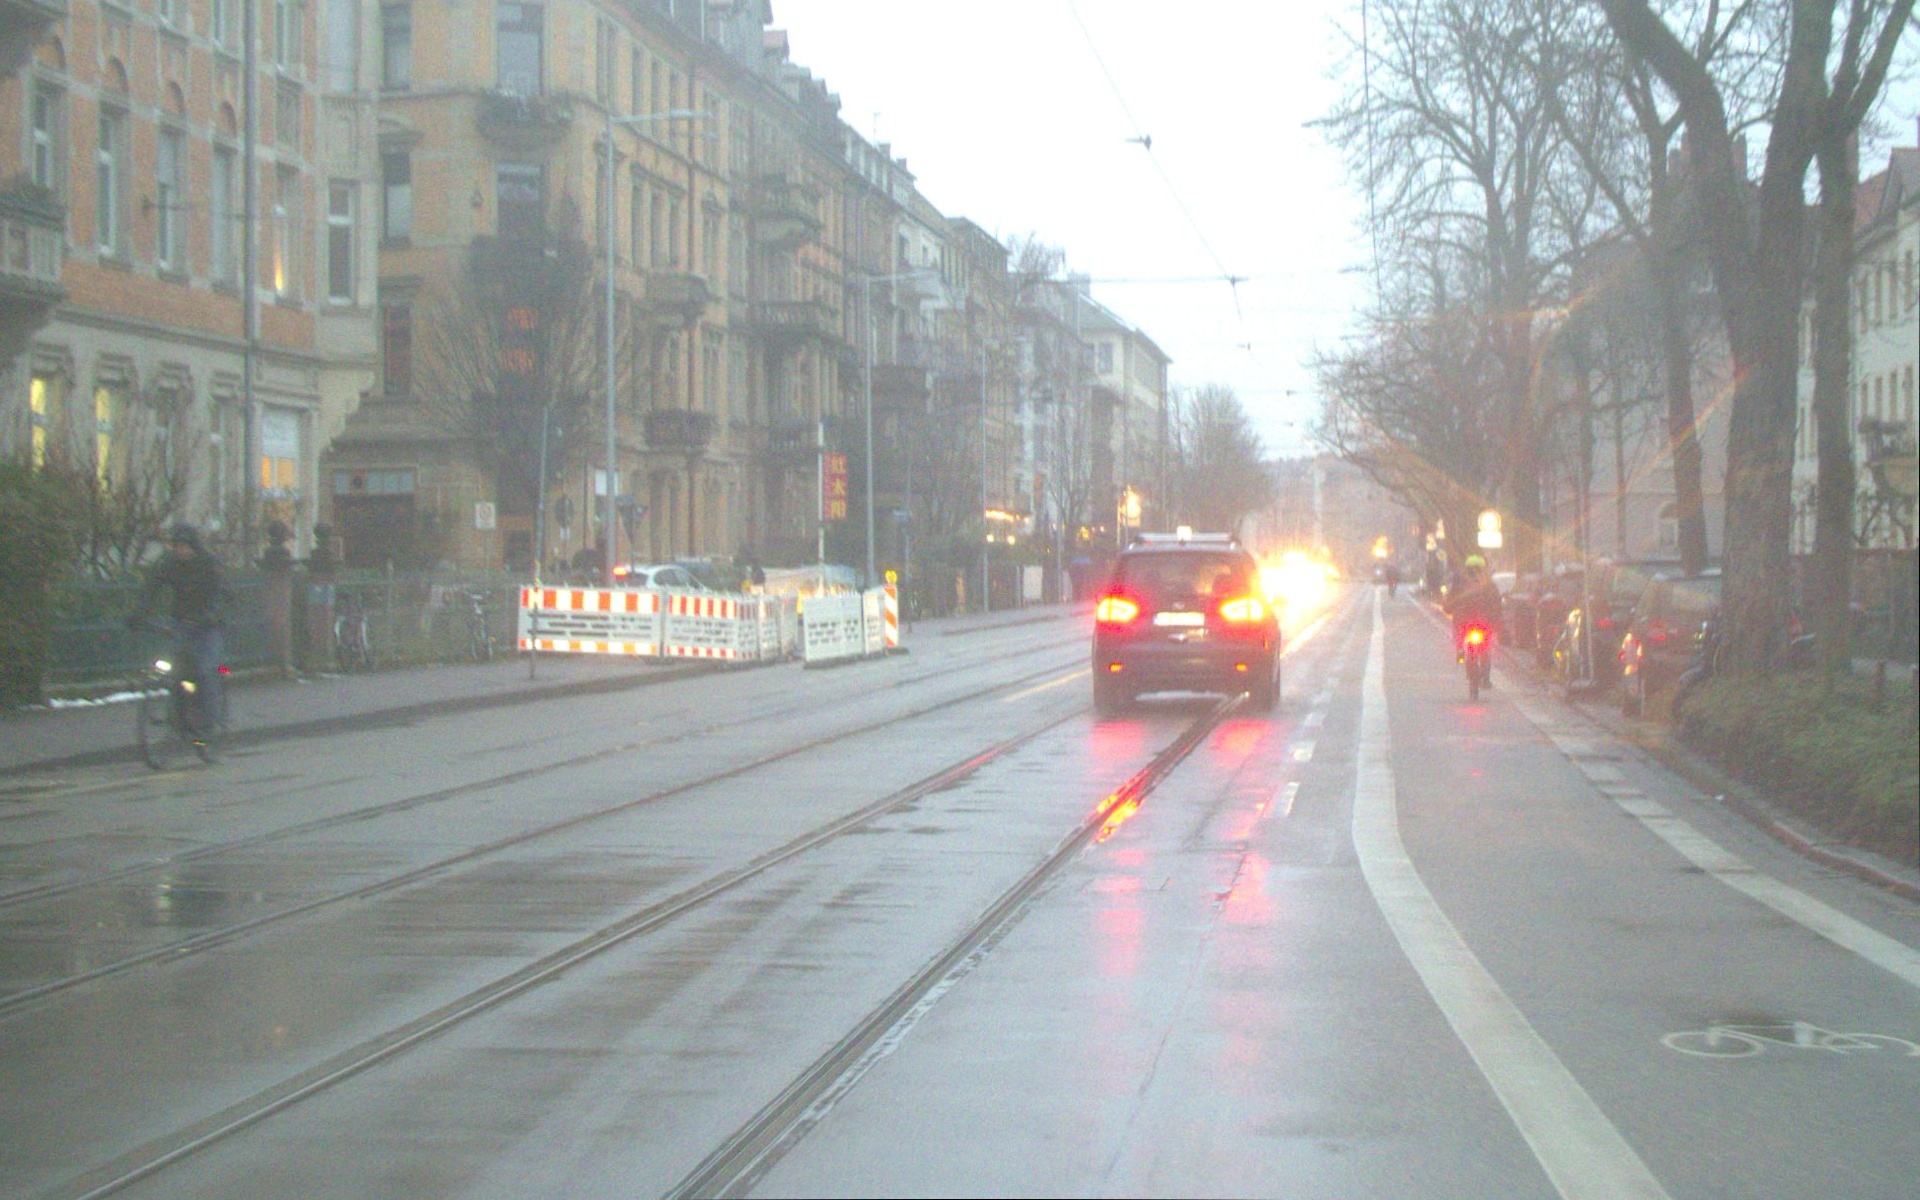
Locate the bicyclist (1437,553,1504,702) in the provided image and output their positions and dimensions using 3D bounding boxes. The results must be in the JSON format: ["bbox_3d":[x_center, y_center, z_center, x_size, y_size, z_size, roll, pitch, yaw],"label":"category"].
[{"bbox_3d":[6.071,0.320,40.914,0.730,1.731,0.765,2,0,8],"label":"bicyclist"}]

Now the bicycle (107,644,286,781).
[{"bbox_3d":[-5.832,0.843,26.376,0.678,0.969,1.932,2,0,8],"label":"bicycle"}]

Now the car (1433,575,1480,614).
[{"bbox_3d":[20.024,-0.228,138.778,1.786,1.504,4.107,1,0,7],"label":"car"}]

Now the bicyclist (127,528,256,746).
[{"bbox_3d":[-5.832,0.276,26.116,0.684,1.610,0.765,2,0,8],"label":"bicyclist"}]

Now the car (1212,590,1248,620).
[{"bbox_3d":[15.865,0.307,201.964,1.924,1.714,3.999,1,0,7],"label":"car"}]

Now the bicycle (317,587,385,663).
[{"bbox_3d":[-7.655,0.303,43.240,0.263,0.912,1.685,7,1,7],"label":"bicycle"}]

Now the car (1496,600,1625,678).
[{"bbox_3d":[11.352,0.708,65.254,1.879,1.415,4.343,0,0,3],"label":"car"}]

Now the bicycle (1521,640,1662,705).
[{"bbox_3d":[9.301,1.064,50.644,2.015,0.913,0.464,1,0,16],"label":"bicycle"}]

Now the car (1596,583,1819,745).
[{"bbox_3d":[7.521,0.609,34.916,1.786,1.504,3.986,1,0,6],"label":"car"}]

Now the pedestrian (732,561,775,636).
[{"bbox_3d":[-4.937,-0.040,82.021,0.718,1.767,0.770,1,0,-29],"label":"pedestrian"}]

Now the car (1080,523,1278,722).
[{"bbox_3d":[2.378,0.217,36.472,1.802,1.864,4.017,4,1,6],"label":"car"}]

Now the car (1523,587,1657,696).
[{"bbox_3d":[9.950,0.632,54.567,1.906,1.605,4.559,1,0,8],"label":"car"}]

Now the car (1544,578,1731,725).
[{"bbox_3d":[8.561,0.615,43.794,1.906,1.722,4.901,1,0,6],"label":"car"}]

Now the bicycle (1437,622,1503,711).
[{"bbox_3d":[6.071,0.776,40.975,0.731,1.003,1.763,2,0,8],"label":"bicycle"}]
